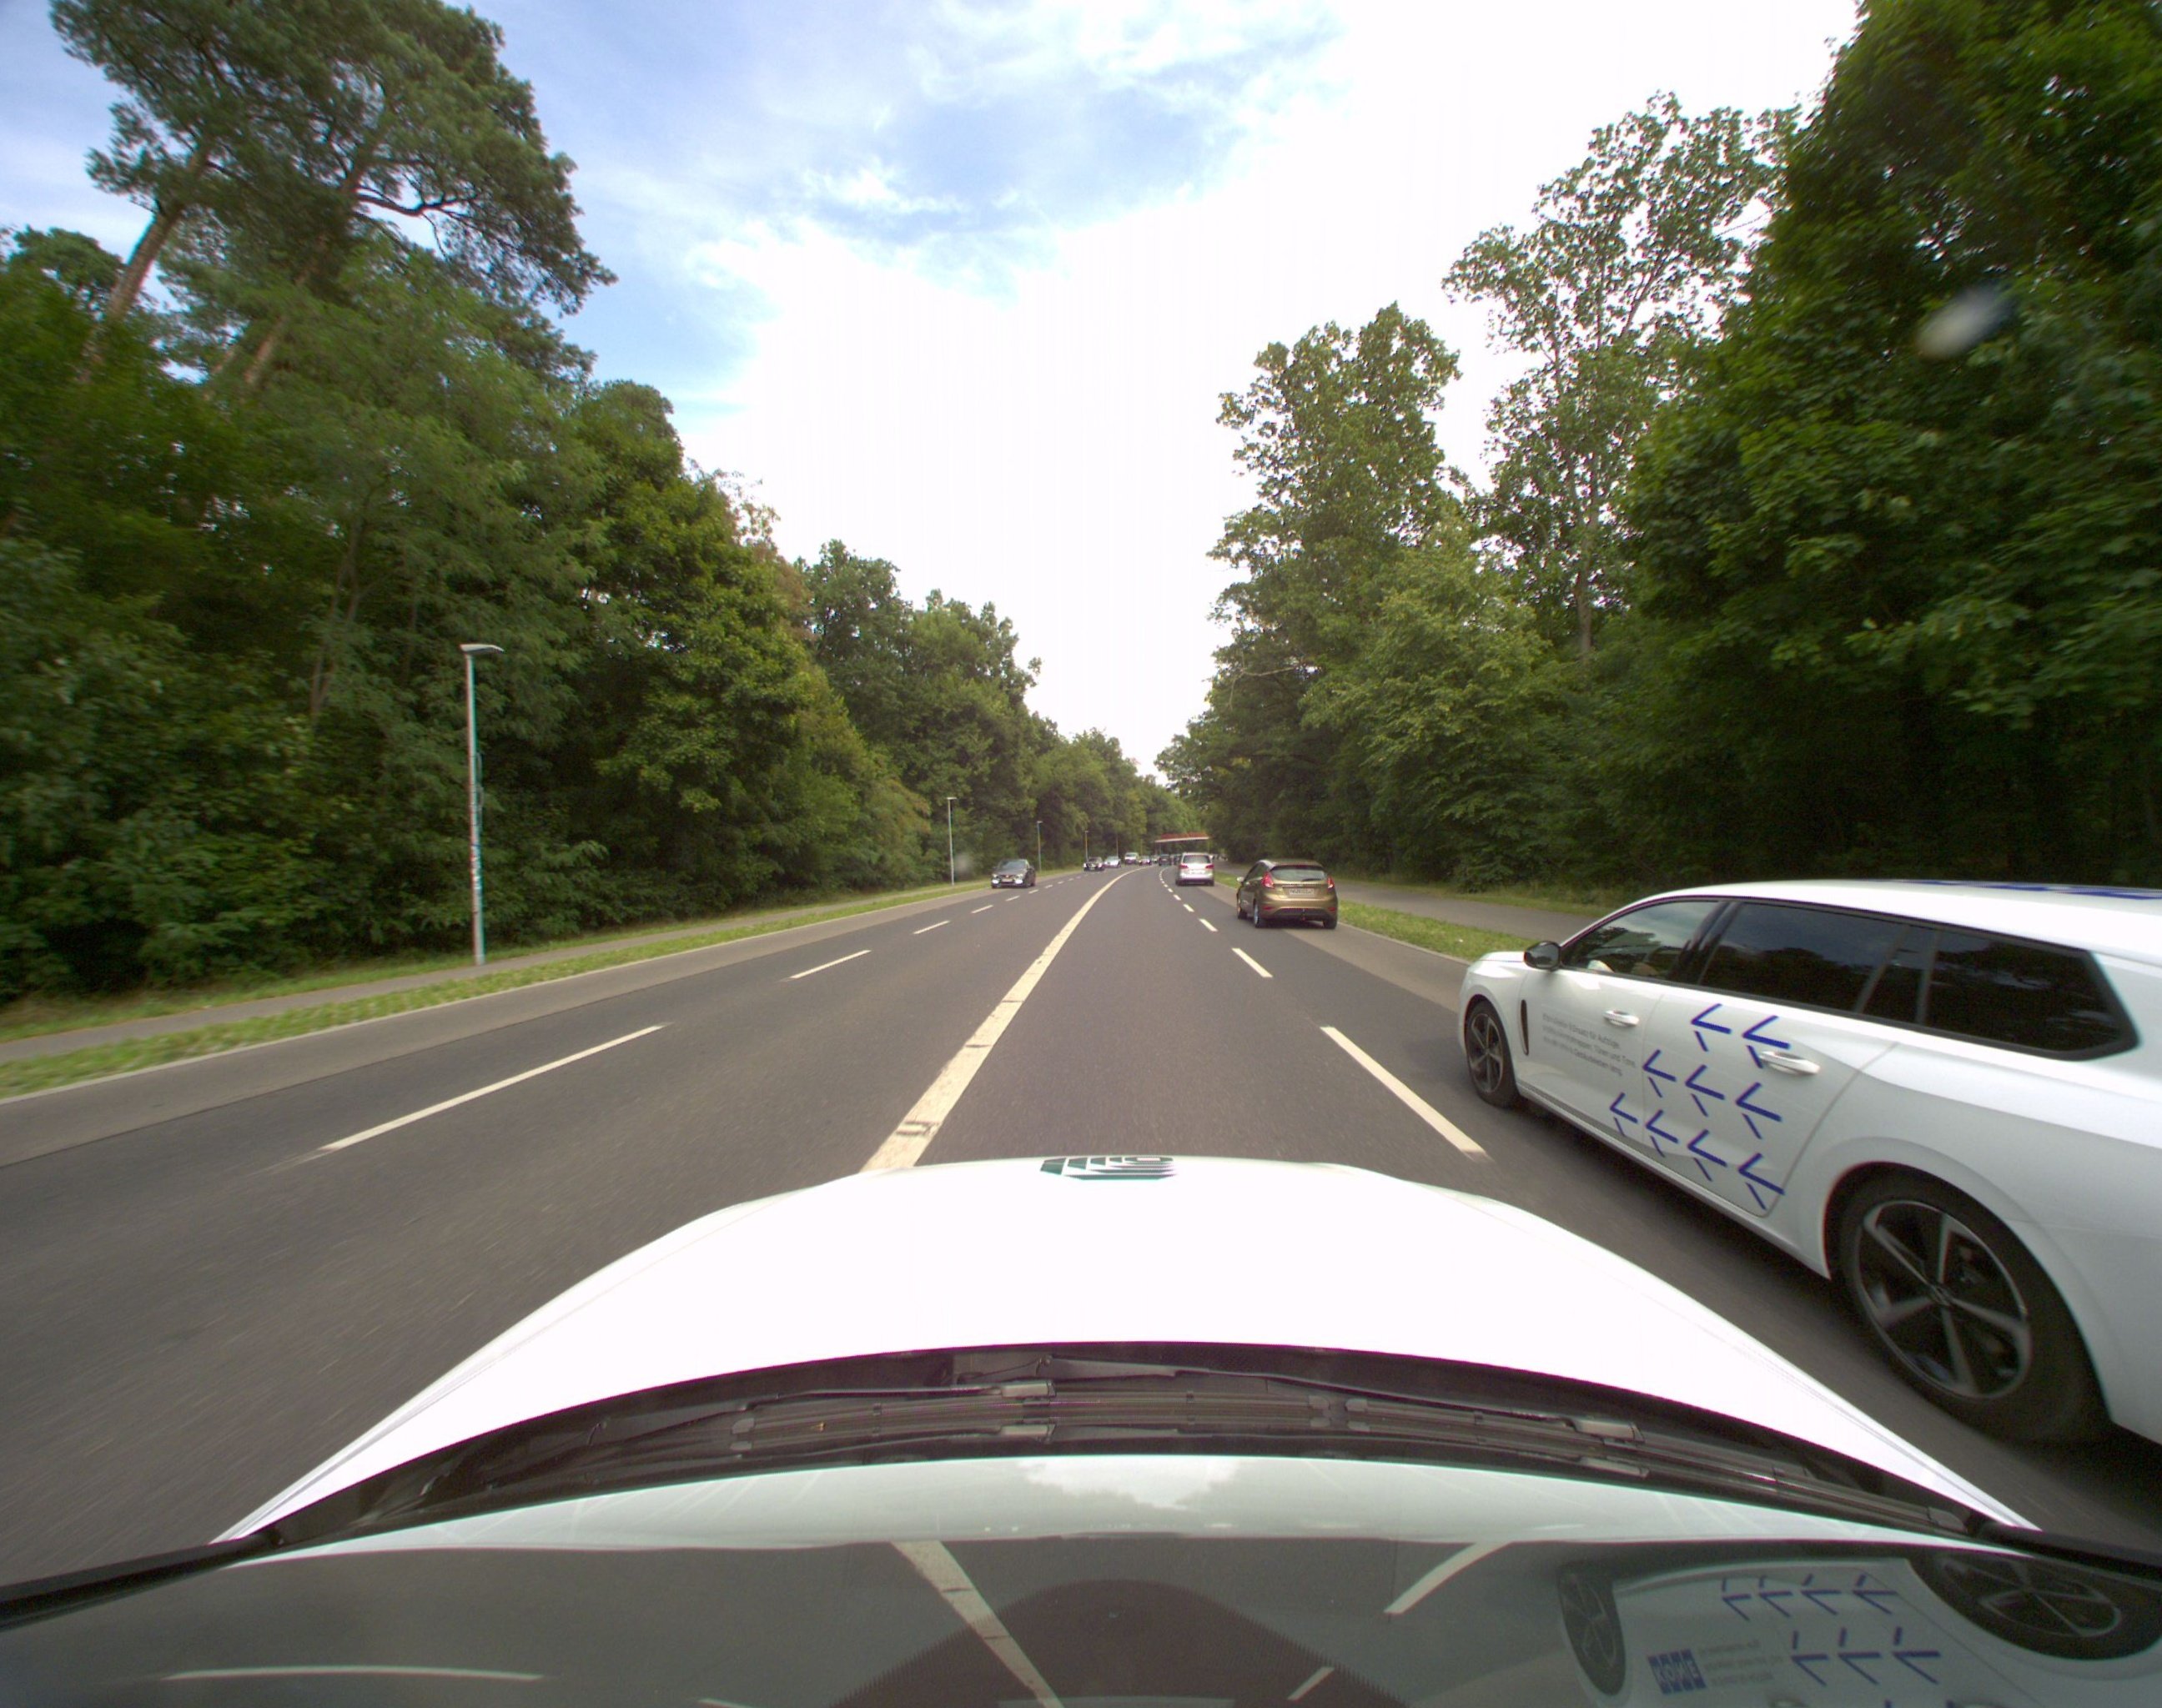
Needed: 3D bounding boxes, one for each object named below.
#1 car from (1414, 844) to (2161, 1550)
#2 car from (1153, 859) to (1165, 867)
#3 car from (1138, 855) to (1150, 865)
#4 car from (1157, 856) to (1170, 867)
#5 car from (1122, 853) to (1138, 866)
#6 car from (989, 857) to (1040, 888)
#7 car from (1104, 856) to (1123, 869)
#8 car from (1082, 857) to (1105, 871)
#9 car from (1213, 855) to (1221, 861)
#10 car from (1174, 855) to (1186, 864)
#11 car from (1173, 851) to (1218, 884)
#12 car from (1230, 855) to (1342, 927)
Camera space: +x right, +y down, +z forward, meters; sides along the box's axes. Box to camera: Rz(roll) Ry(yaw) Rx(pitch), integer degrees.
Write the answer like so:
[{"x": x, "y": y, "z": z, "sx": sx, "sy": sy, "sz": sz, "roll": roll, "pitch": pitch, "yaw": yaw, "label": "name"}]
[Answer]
[{"x": 3.229, "y": 0.688, "z": 3.637, "sx": 1.829, "sy": 1.410, "sz": 4.494, "roll": -2, "pitch": 0, "yaw": 3, "label": "car"}, {"x": 14.774, "y": 1.789, "z": 154.158, "sx": 1.874, "sy": 1.478, "sz": 4.529, "roll": 1, "pitch": -1, "yaw": 9, "label": "car"}, {"x": 9.587, "y": 0.925, "z": 123.651, "sx": 1.647, "sy": 1.486, "sz": 3.874, "roll": 1, "pitch": -1, "yaw": 7, "label": "car"}, {"x": 12.020, "y": 1.159, "z": 119.038, "sx": 1.720, "sy": 1.587, "sz": 4.008, "roll": 1, "pitch": -1, "yaw": 7, "label": "car"}, {"x": 8.079, "y": 0.864, "z": 133.705, "sx": 1.981, "sy": 2.014, "sz": 5.068, "roll": -2, "pitch": -1, "yaw": 10, "label": "car"}, {"x": -3.305, "y": 0.934, "z": 41.202, "sx": 1.888, "sy": 1.484, "sz": 4.542, "roll": 1, "pitch": -1, "yaw": 3, "label": "car"}, {"x": 4.206, "y": 1.099, "z": 105.698, "sx": 1.983, "sy": 1.563, "sz": 4.613, "roll": 1, "pitch": -1, "yaw": 7, "label": "car"}, {"x": 1.373, "y": 1.064, "z": 85.642, "sx": 1.871, "sy": 1.443, "sz": 4.412, "roll": 1, "pitch": -1, "yaw": 7, "label": "car"}, {"x": 38.509, "y": 1.030, "z": 230.509, "sx": 1.980, "sy": 1.706, "sz": 4.014, "roll": -1, "pitch": 0, "yaw": 13, "label": "car"}, {"x": 19.215, "y": 1.117, "z": 158.079, "sx": 1.981, "sy": 1.697, "sz": 4.011, "roll": 1, "pitch": -1, "yaw": 11, "label": "car"}, {"x": 5.849, "y": 0.695, "z": 41.997, "sx": 1.985, "sy": 1.607, "sz": 4.004, "roll": 1, "pitch": -1, "yaw": 4, "label": "car"}, {"x": 4.443, "y": 0.772, "z": 18.229, "sx": 1.629, "sy": 1.420, "sz": 4.001, "roll": 1, "pitch": -1, "yaw": 2, "label": "car"}]
